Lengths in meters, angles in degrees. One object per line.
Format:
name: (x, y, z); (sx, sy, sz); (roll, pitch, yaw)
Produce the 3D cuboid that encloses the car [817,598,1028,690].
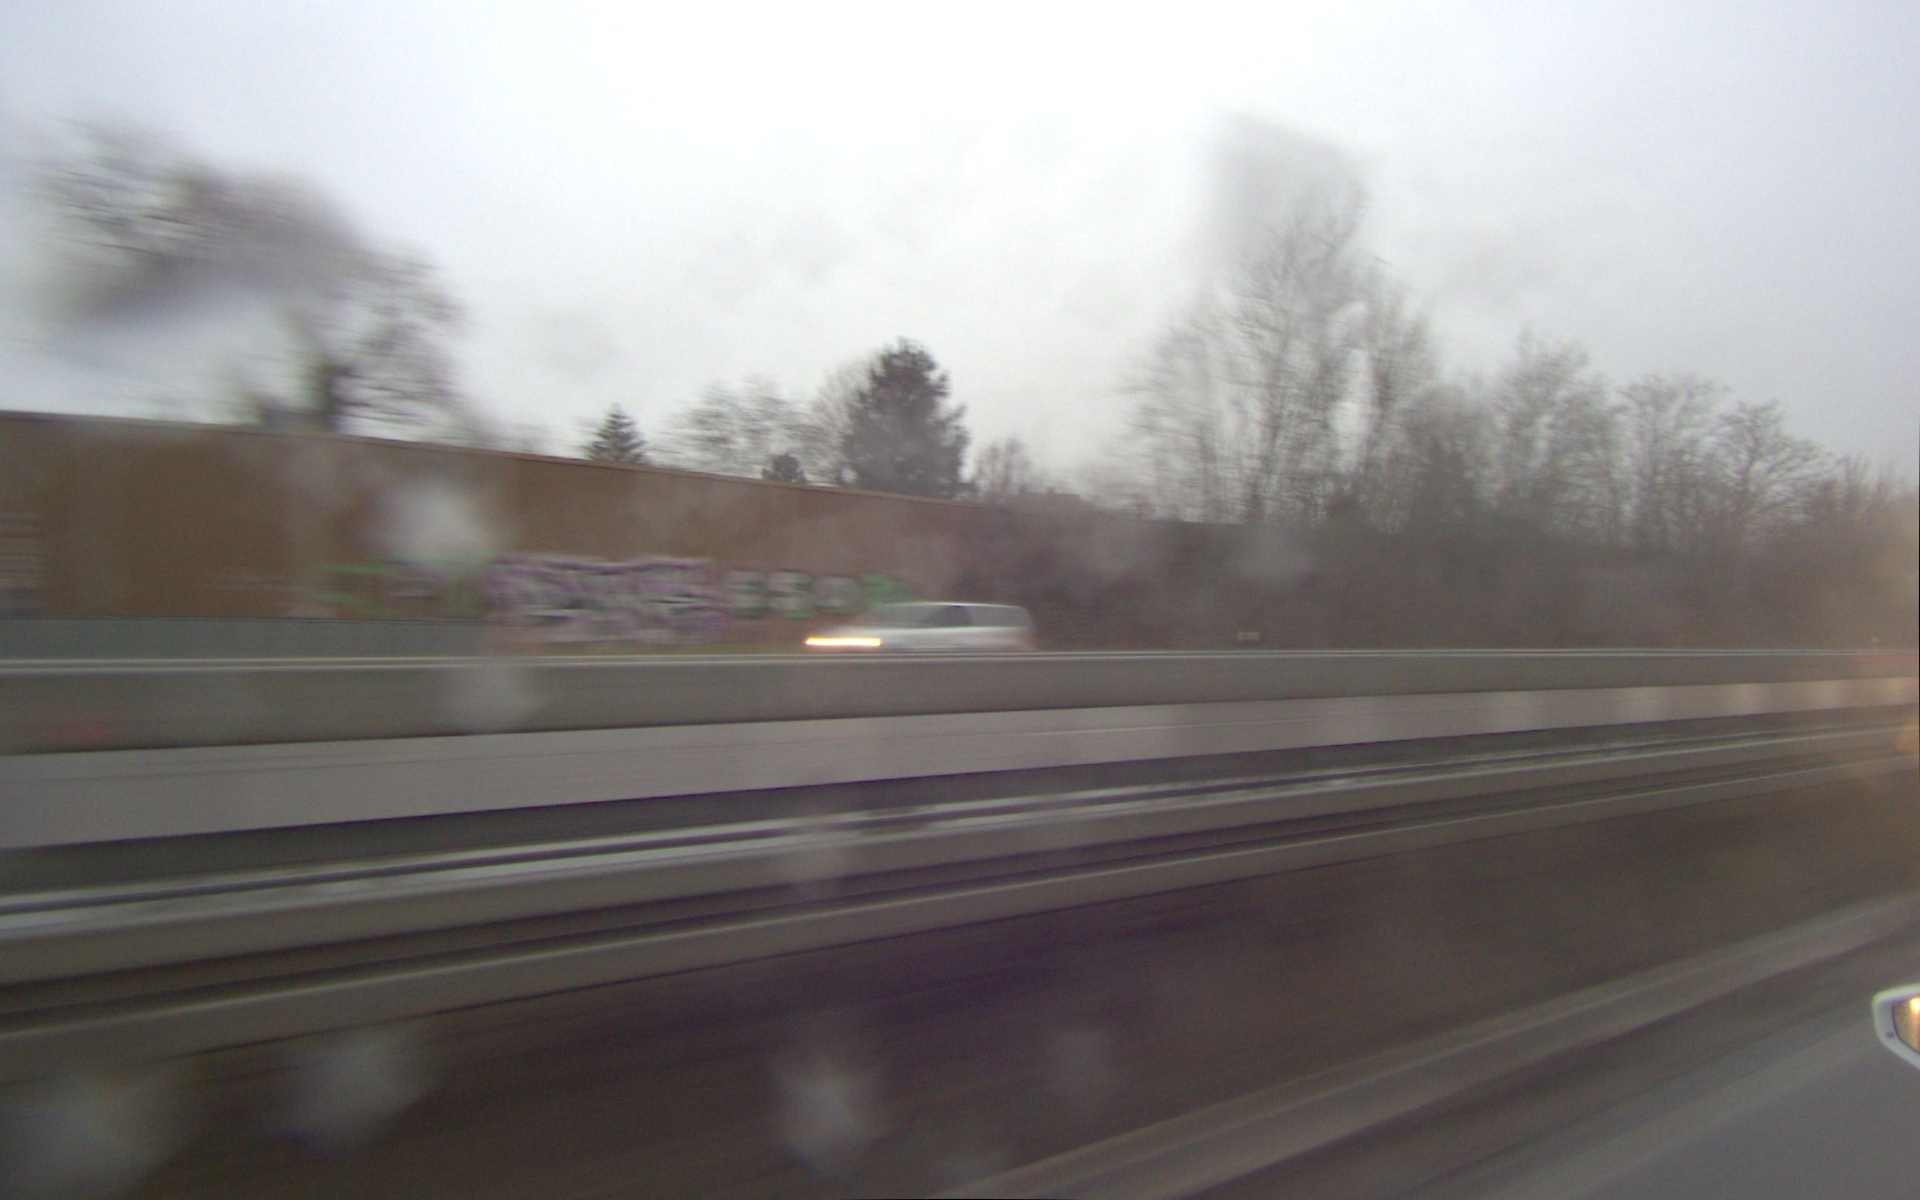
car: (-0.878, 0.974, 22.820); (4.378, 1.939, 1.991); (2, 0, -20)
